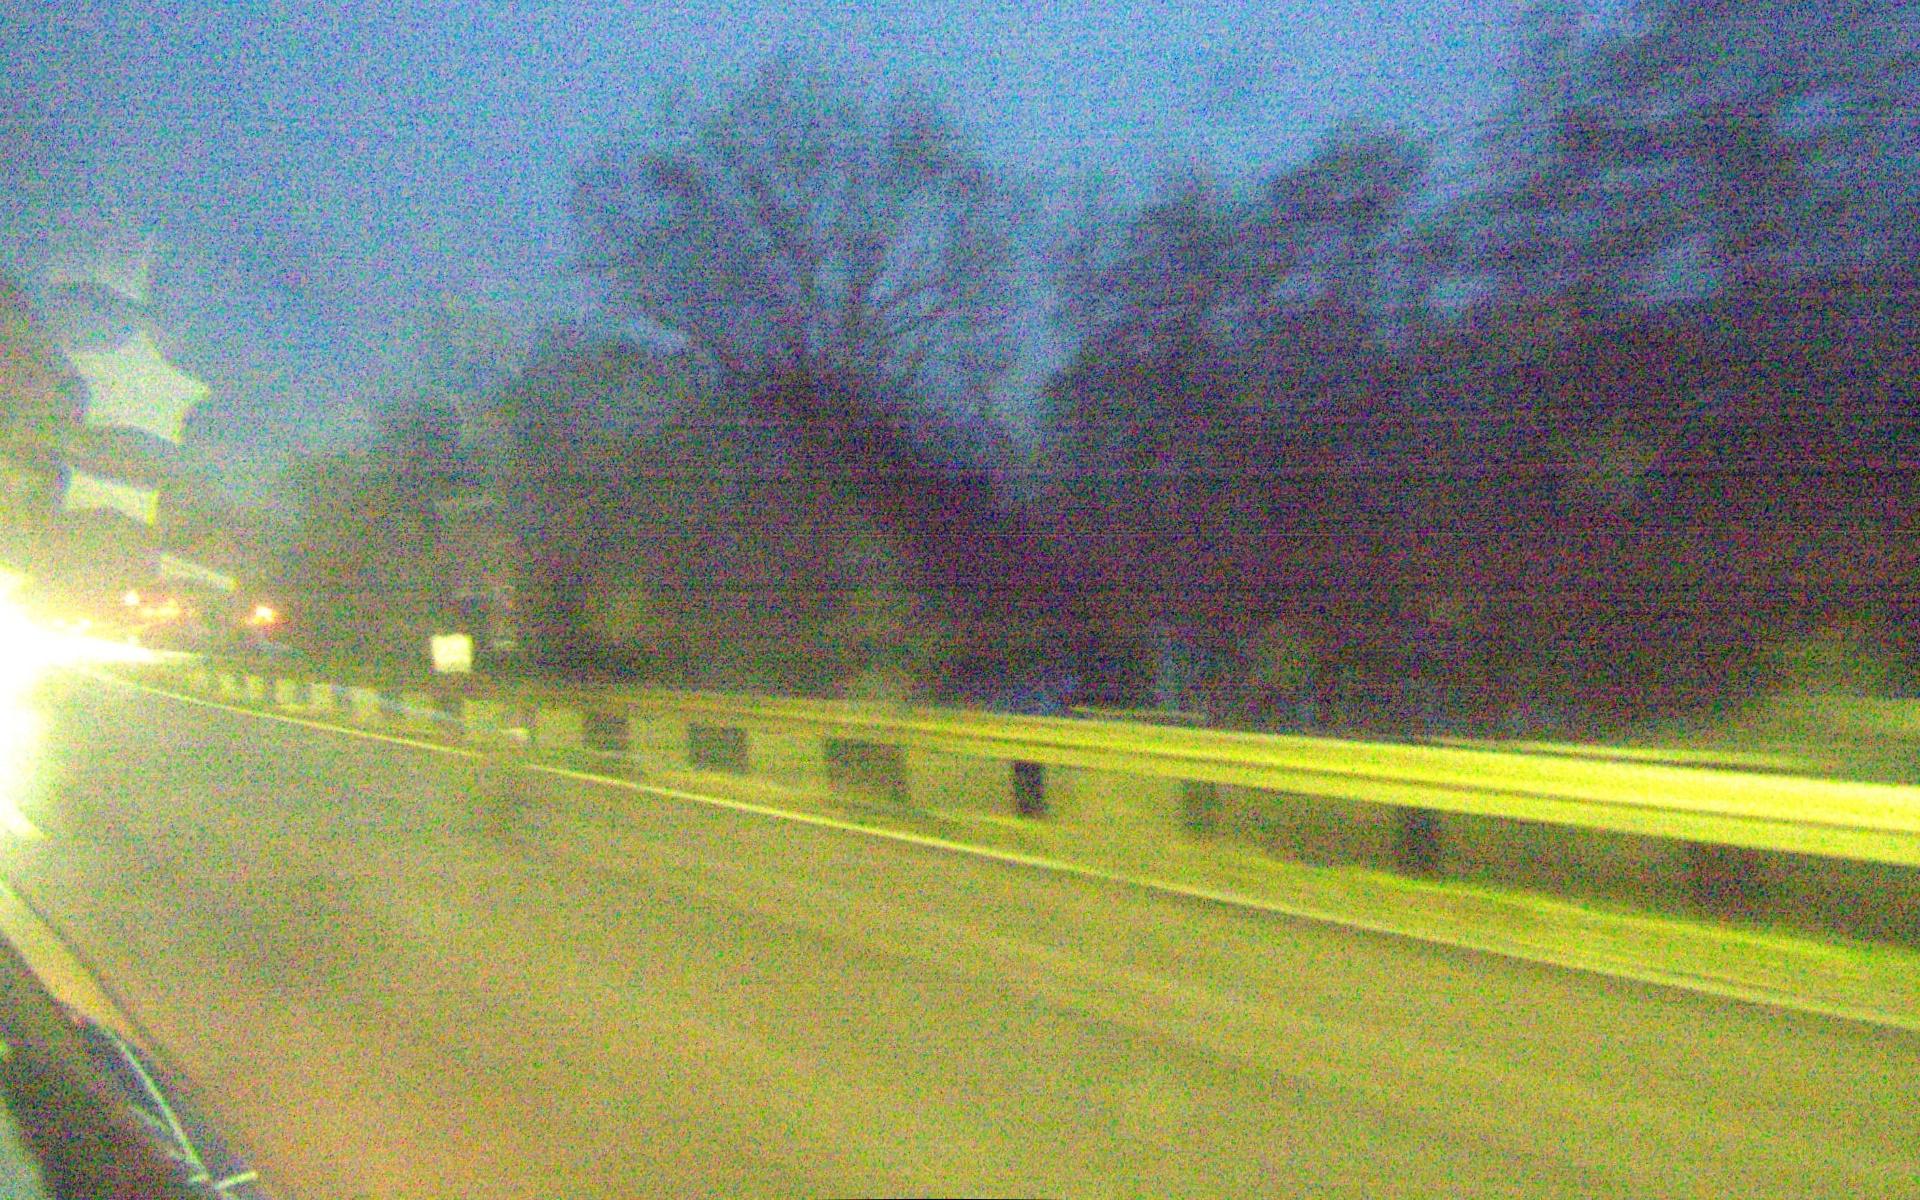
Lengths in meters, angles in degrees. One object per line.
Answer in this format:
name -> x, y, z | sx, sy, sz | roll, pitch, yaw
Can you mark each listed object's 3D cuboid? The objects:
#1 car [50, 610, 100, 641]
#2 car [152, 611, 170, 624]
car -> -60.555, 1.707, 69.320 | 1.966, 1.940, 4.011 | -1, 1, -32
car -> -114.291, 2.514, 144.762 | 1.968, 1.763, 4.267 | -2, 1, -37
